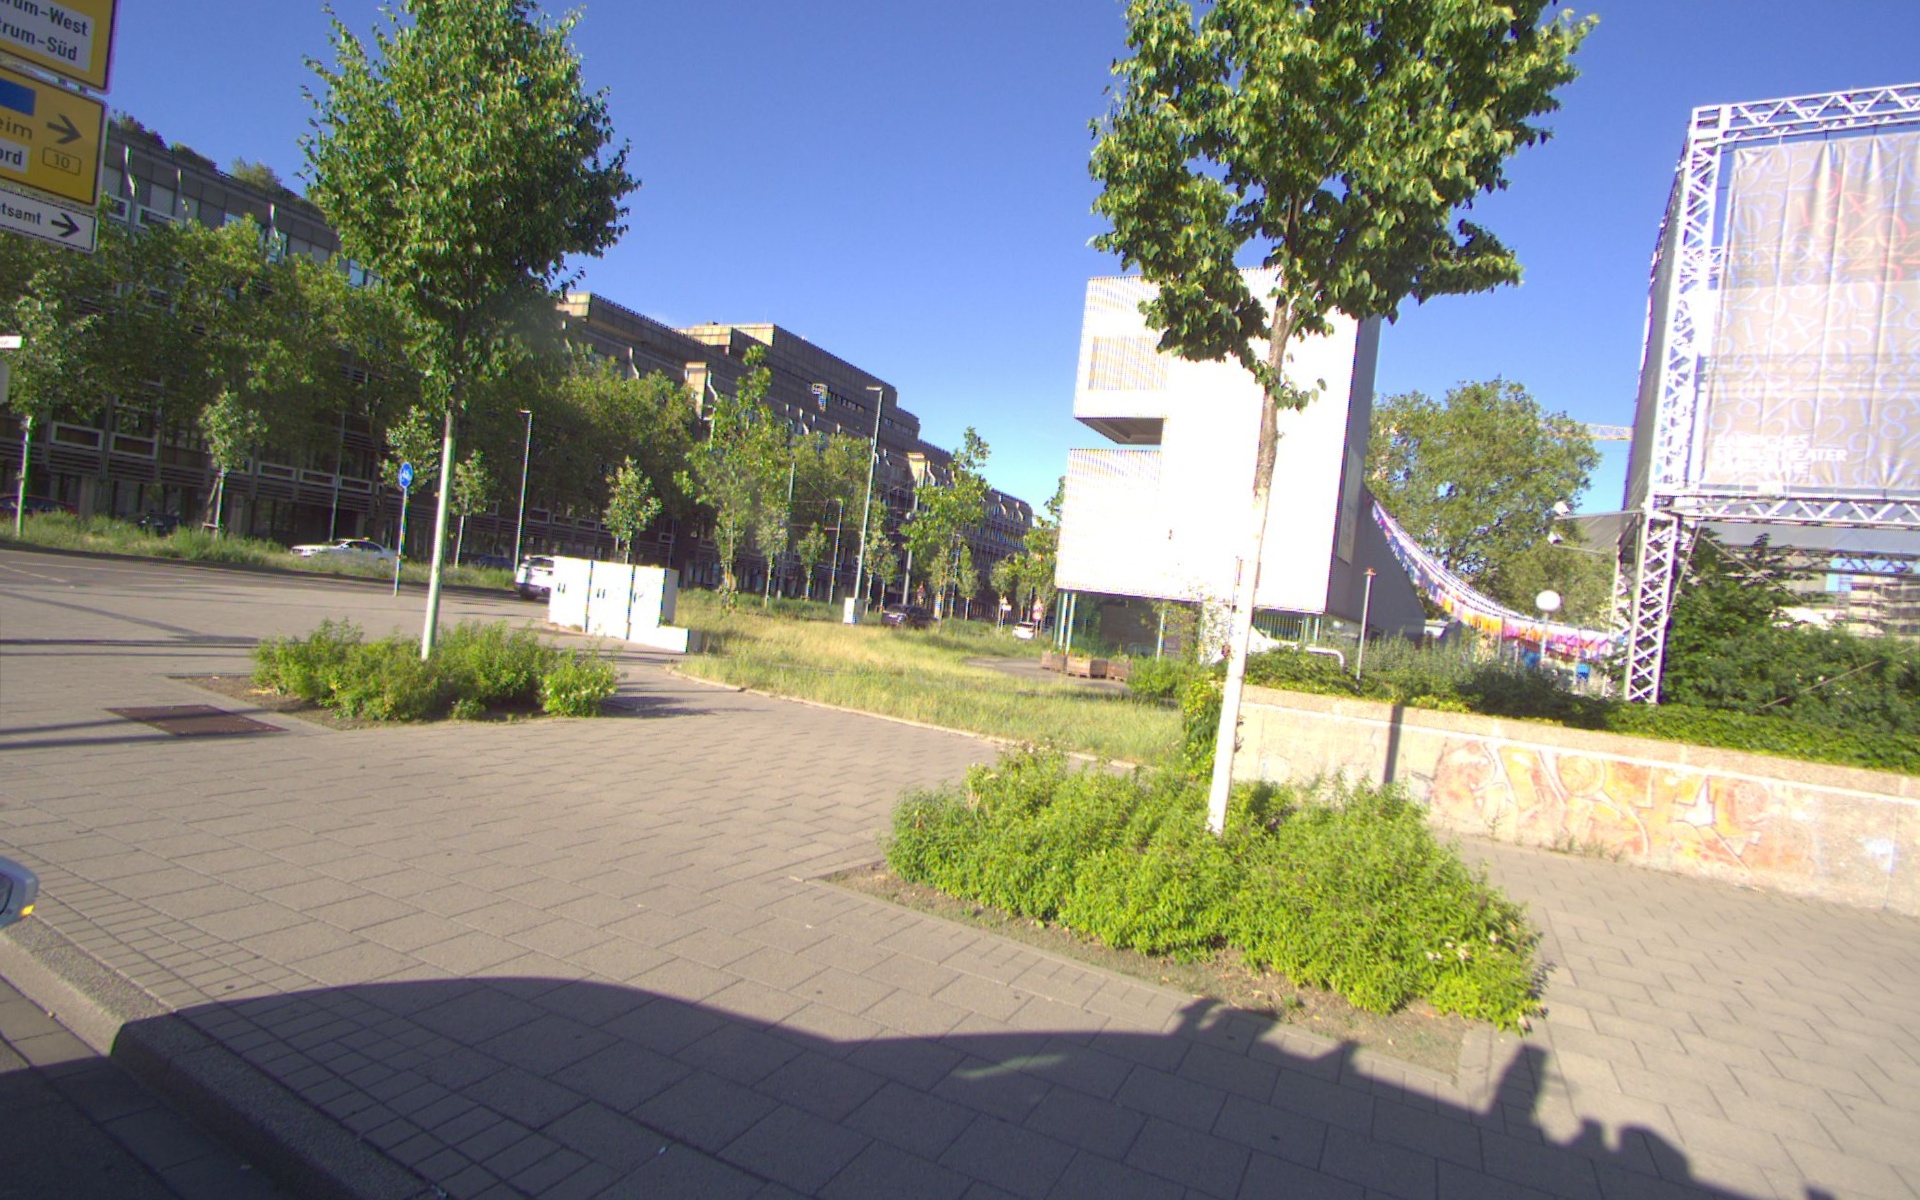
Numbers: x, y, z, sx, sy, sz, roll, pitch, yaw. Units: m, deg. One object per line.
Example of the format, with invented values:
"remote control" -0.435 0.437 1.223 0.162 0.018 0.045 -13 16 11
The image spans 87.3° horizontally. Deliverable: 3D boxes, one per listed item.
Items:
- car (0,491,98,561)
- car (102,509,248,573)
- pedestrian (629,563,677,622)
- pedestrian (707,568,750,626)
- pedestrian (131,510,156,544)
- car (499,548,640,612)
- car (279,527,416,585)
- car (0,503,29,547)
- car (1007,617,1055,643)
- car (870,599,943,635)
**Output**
"car" -33.316 -2.710 35.375 1.966 2.037 3.997 6 -2 29
"car" -34.114 -2.528 43.883 1.965 2.036 4.458 7 -2 27
"pedestrian" -9.240 -0.229 30.324 0.925 1.650 0.803 7 1 18
"pedestrian" -7.400 -0.087 32.192 0.925 1.750 0.695 7 1 18
"pedestrian" -43.737 -3.912 53.912 0.728 1.678 0.665 7 1 25
"car" -13.259 -0.629 34.503 1.963 1.680 4.406 8 0 20
"car" -30.679 -2.181 50.586 2.062 2.036 5.455 6 -2 29
"car" -37.247 -3.042 36.946 1.836 1.525 3.997 7 -2 29
"car" 5.375 2.266 75.261 1.964 1.546 4.700 7 -1 24
"car" -3.021 1.015 58.224 1.964 1.621 4.950 8 0 25
